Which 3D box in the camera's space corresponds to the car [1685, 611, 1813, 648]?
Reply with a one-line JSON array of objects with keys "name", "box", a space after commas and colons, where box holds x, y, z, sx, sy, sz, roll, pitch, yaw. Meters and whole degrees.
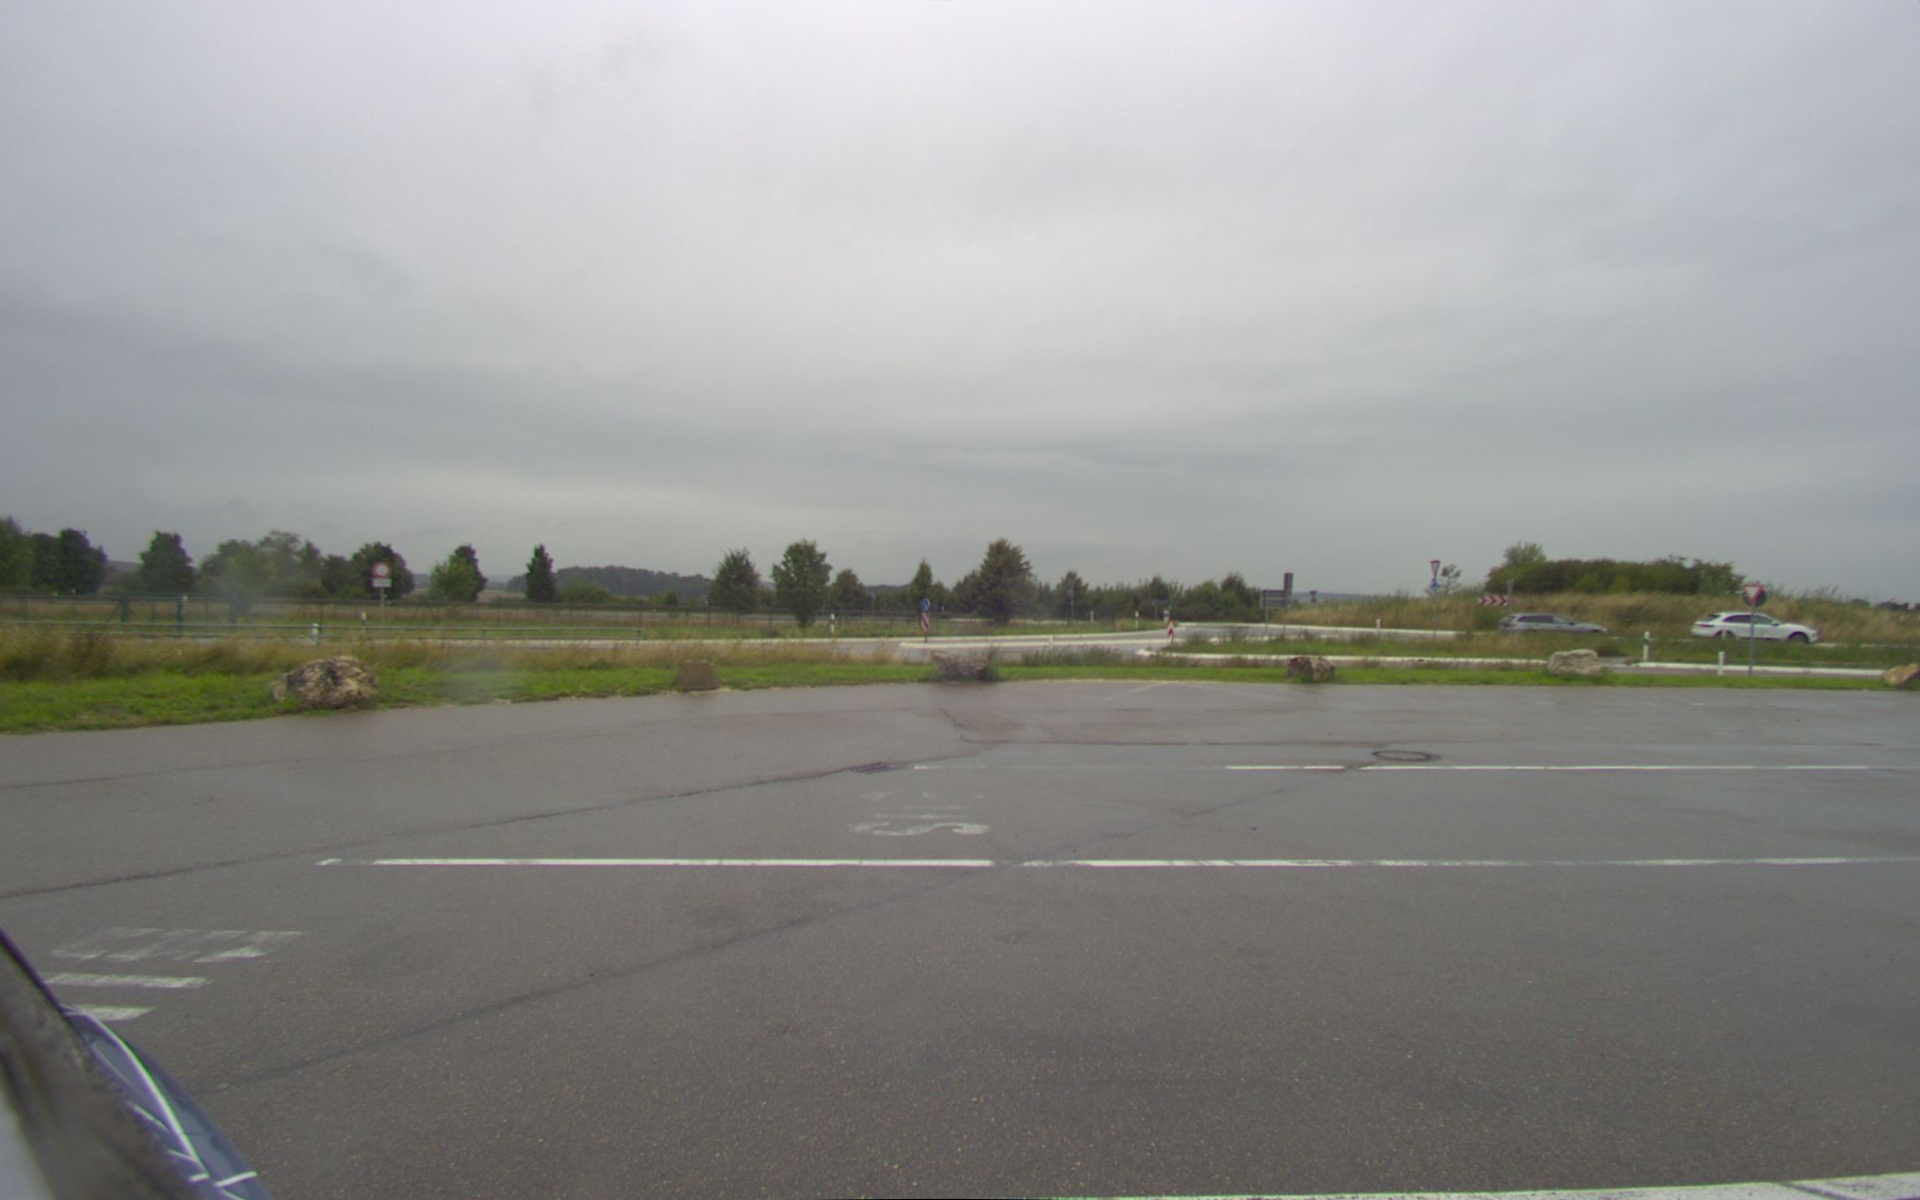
[{"name": "car", "box": [36.106, 1.317, 46.449, 4.359, 1.596, 1.680, 0, -1, 24]}]

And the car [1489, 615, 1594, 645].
[{"name": "car", "box": [27.689, 1.409, 48.295, 3.999, 1.336, 1.688, 0, -1, 10]}]
